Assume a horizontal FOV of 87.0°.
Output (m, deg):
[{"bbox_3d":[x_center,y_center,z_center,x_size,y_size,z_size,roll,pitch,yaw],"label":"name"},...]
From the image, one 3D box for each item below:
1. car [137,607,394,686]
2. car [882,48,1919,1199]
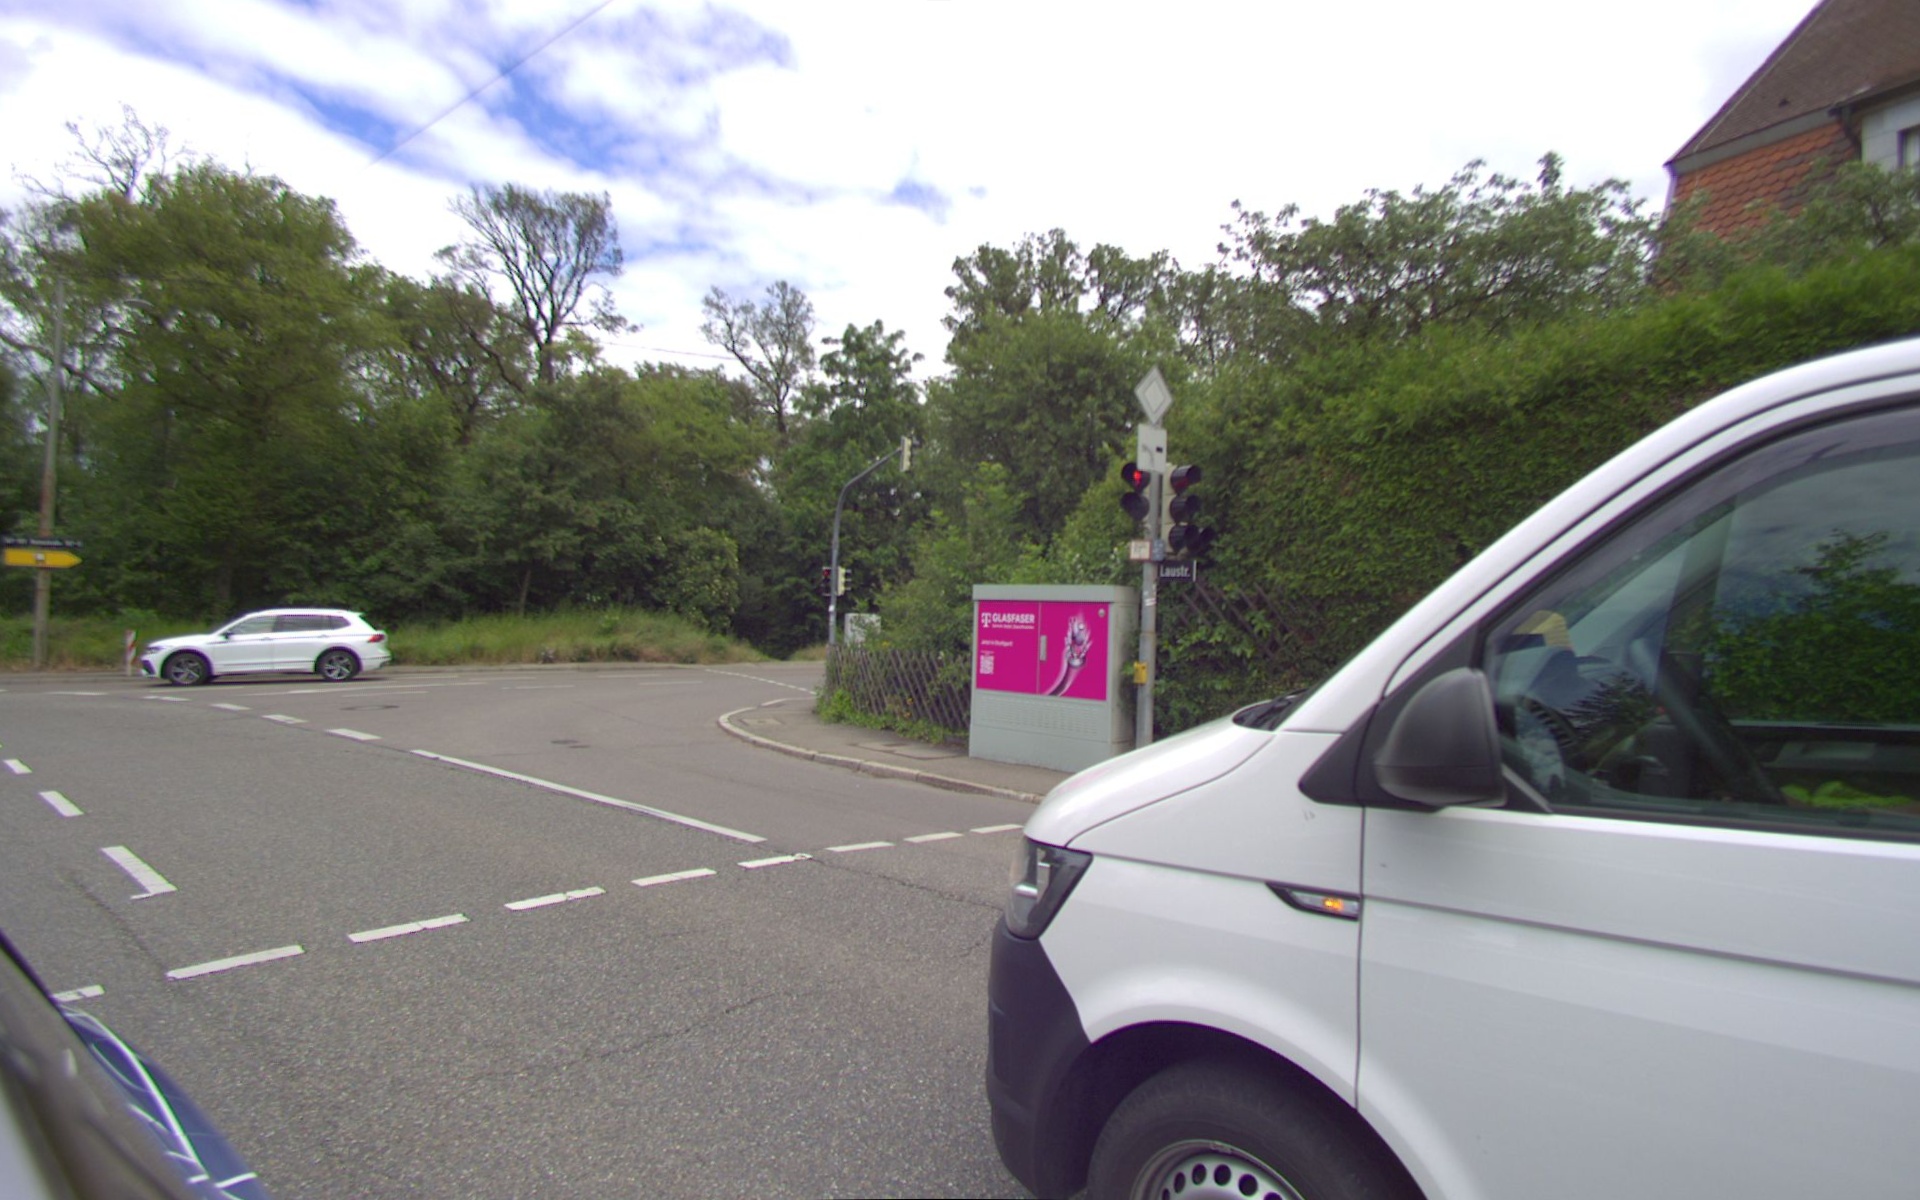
[{"bbox_3d":[-15.527,1.069,22.980,4.573,1.640,1.870,2,-3,-28],"label":"car"},{"bbox_3d":[2.379,0.419,1.226,5.169,2.063,1.838,-1,-3,41],"label":"car"}]
